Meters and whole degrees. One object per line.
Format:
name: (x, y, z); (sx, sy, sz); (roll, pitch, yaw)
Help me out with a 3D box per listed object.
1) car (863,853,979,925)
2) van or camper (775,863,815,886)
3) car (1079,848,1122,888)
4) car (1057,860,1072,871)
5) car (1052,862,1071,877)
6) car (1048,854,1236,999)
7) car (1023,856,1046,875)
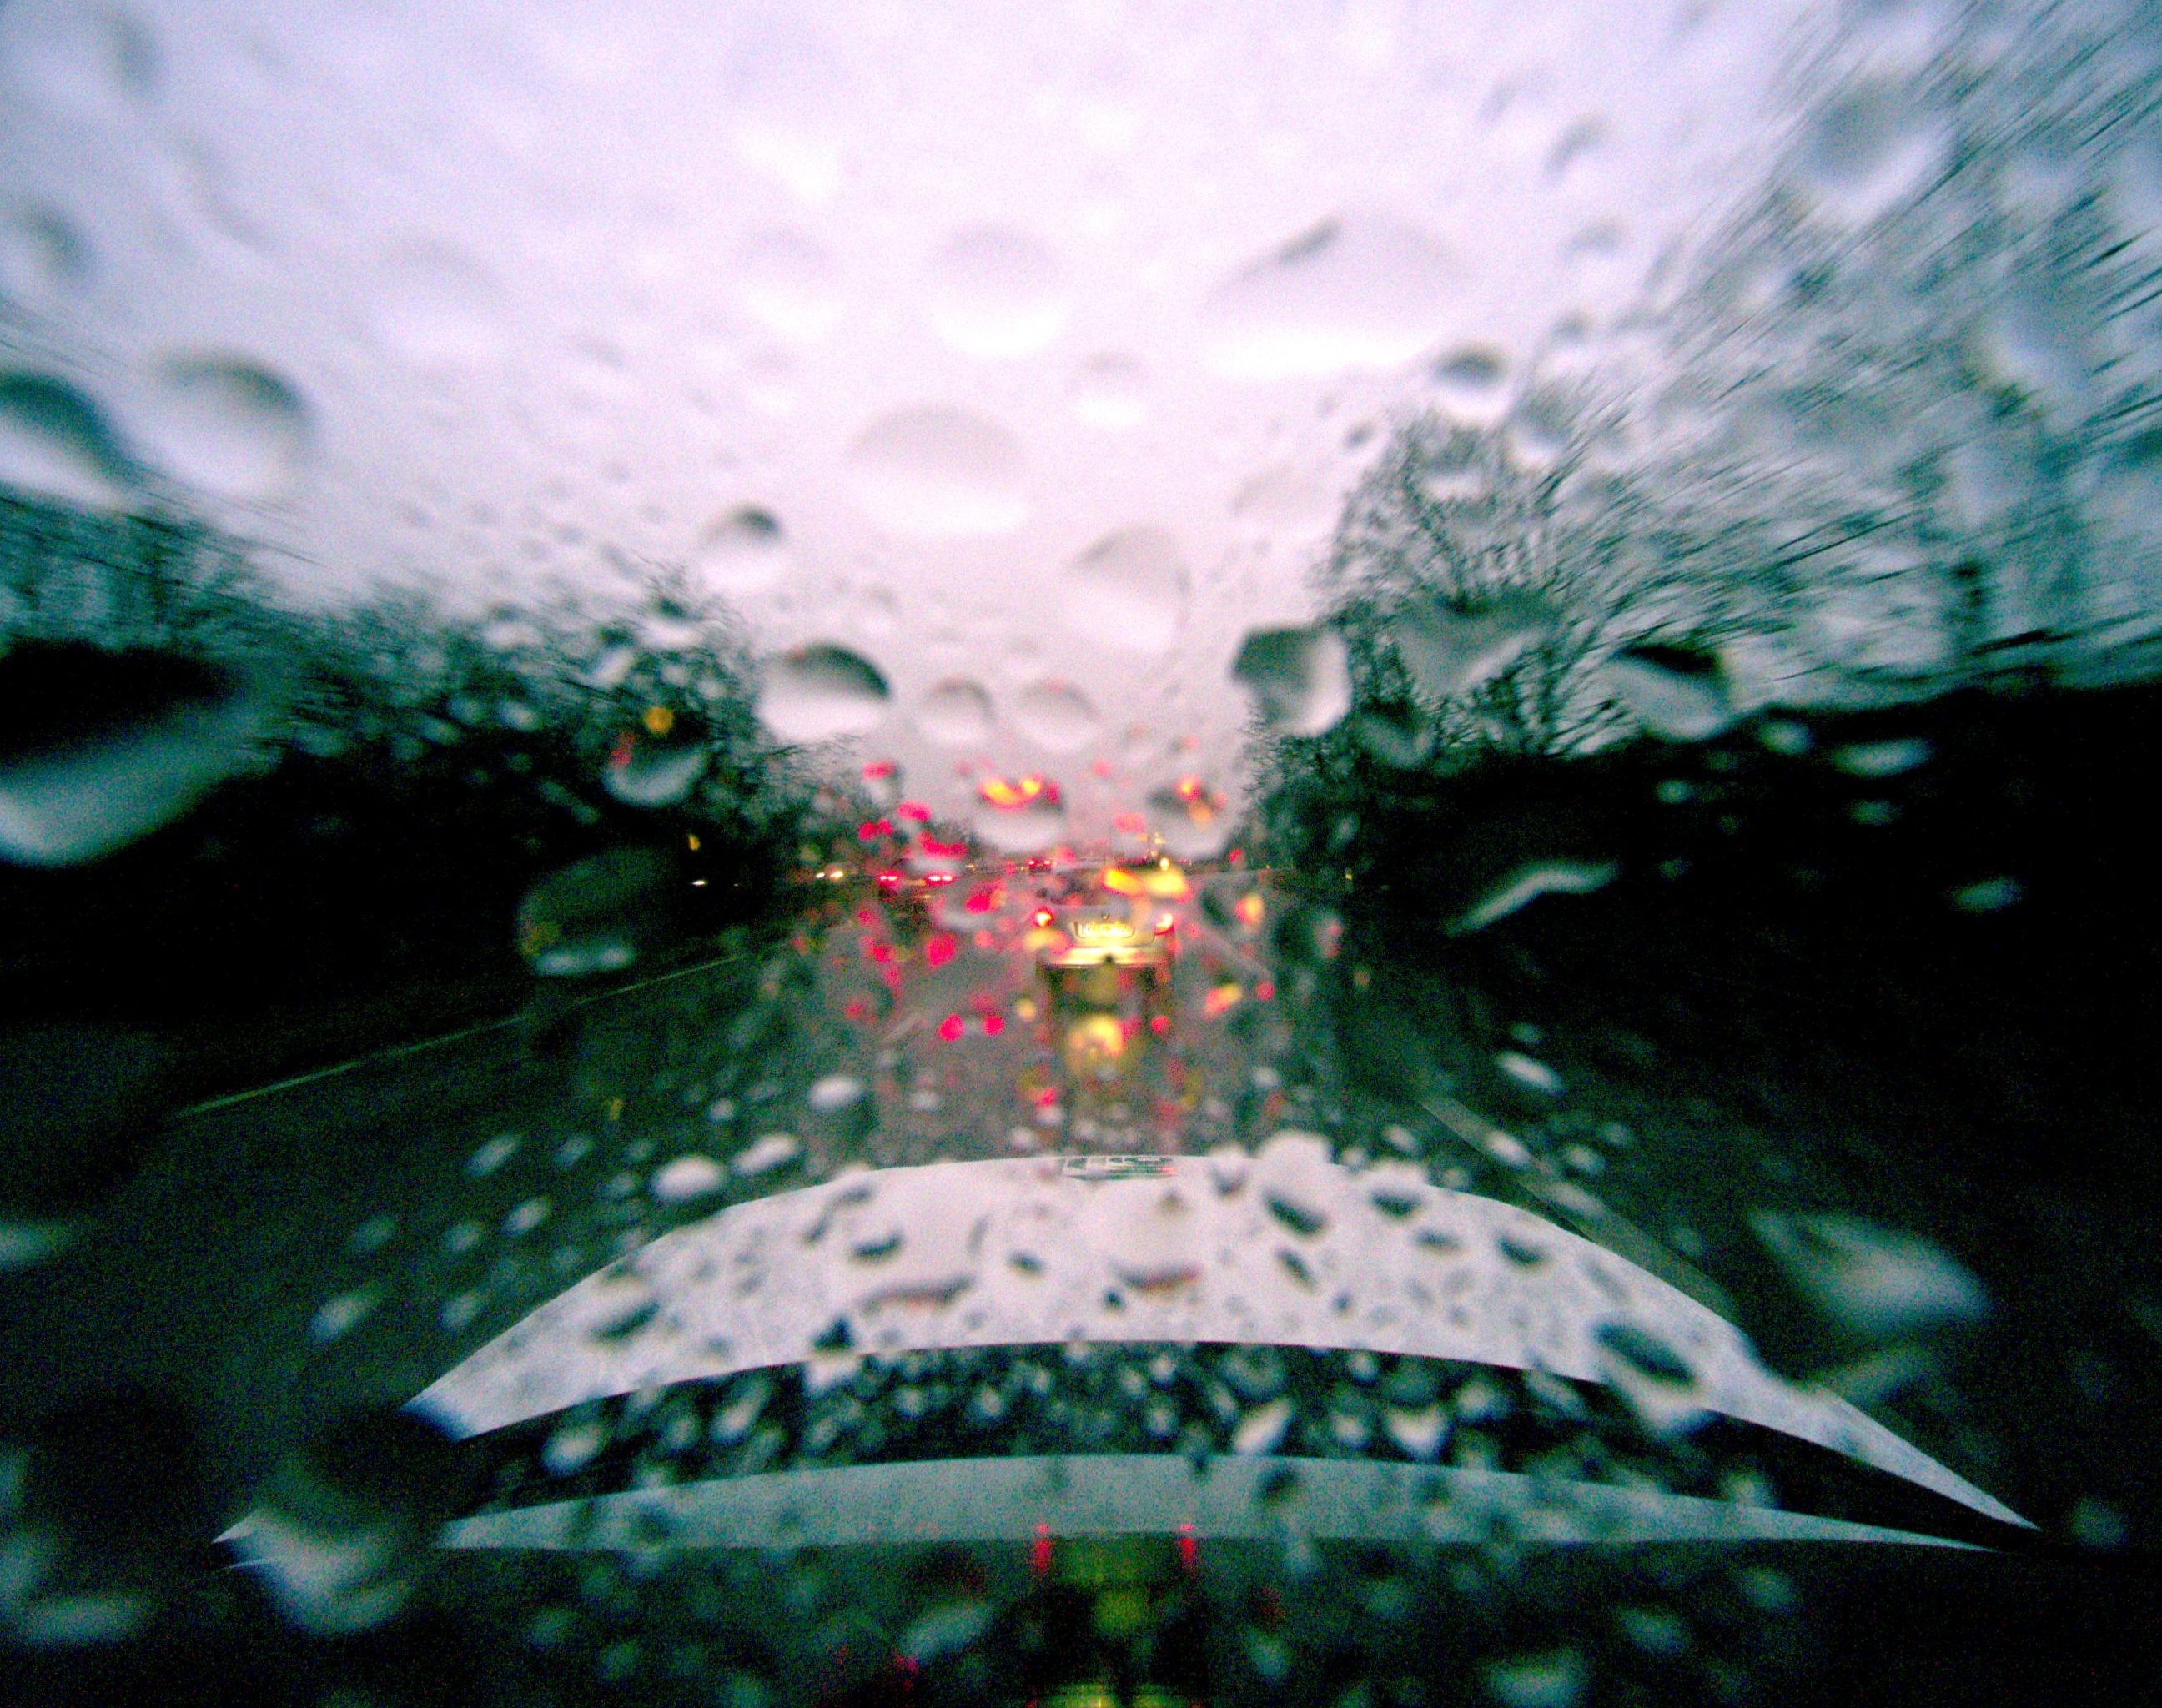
car: (-3.864, 0.805, 20.466); (1.986, 1.601, 4.309); (-1, 0, 1)
van or camper: (-24.277, 1.720, 69.311); (1.642, 1.784, 4.211); (-2, -1, 3)
car: (0.894, 0.637, 39.476); (1.892, 1.767, 4.306); (-2, 0, -1)
car: (-2.283, 1.574, 114.983); (1.782, 1.483, 4.002); (-3, -1, 2)
car: (-2.209, 1.738, 92.461); (1.782, 1.545, 4.002); (-3, -1, 2)
car: (0.757, 0.816, 10.926); (1.985, 1.500, 4.140); (-2, -1, 3)
car: (-3.850, 0.949, 68.416); (1.785, 1.545, 3.996); (-2, 0, -2)
